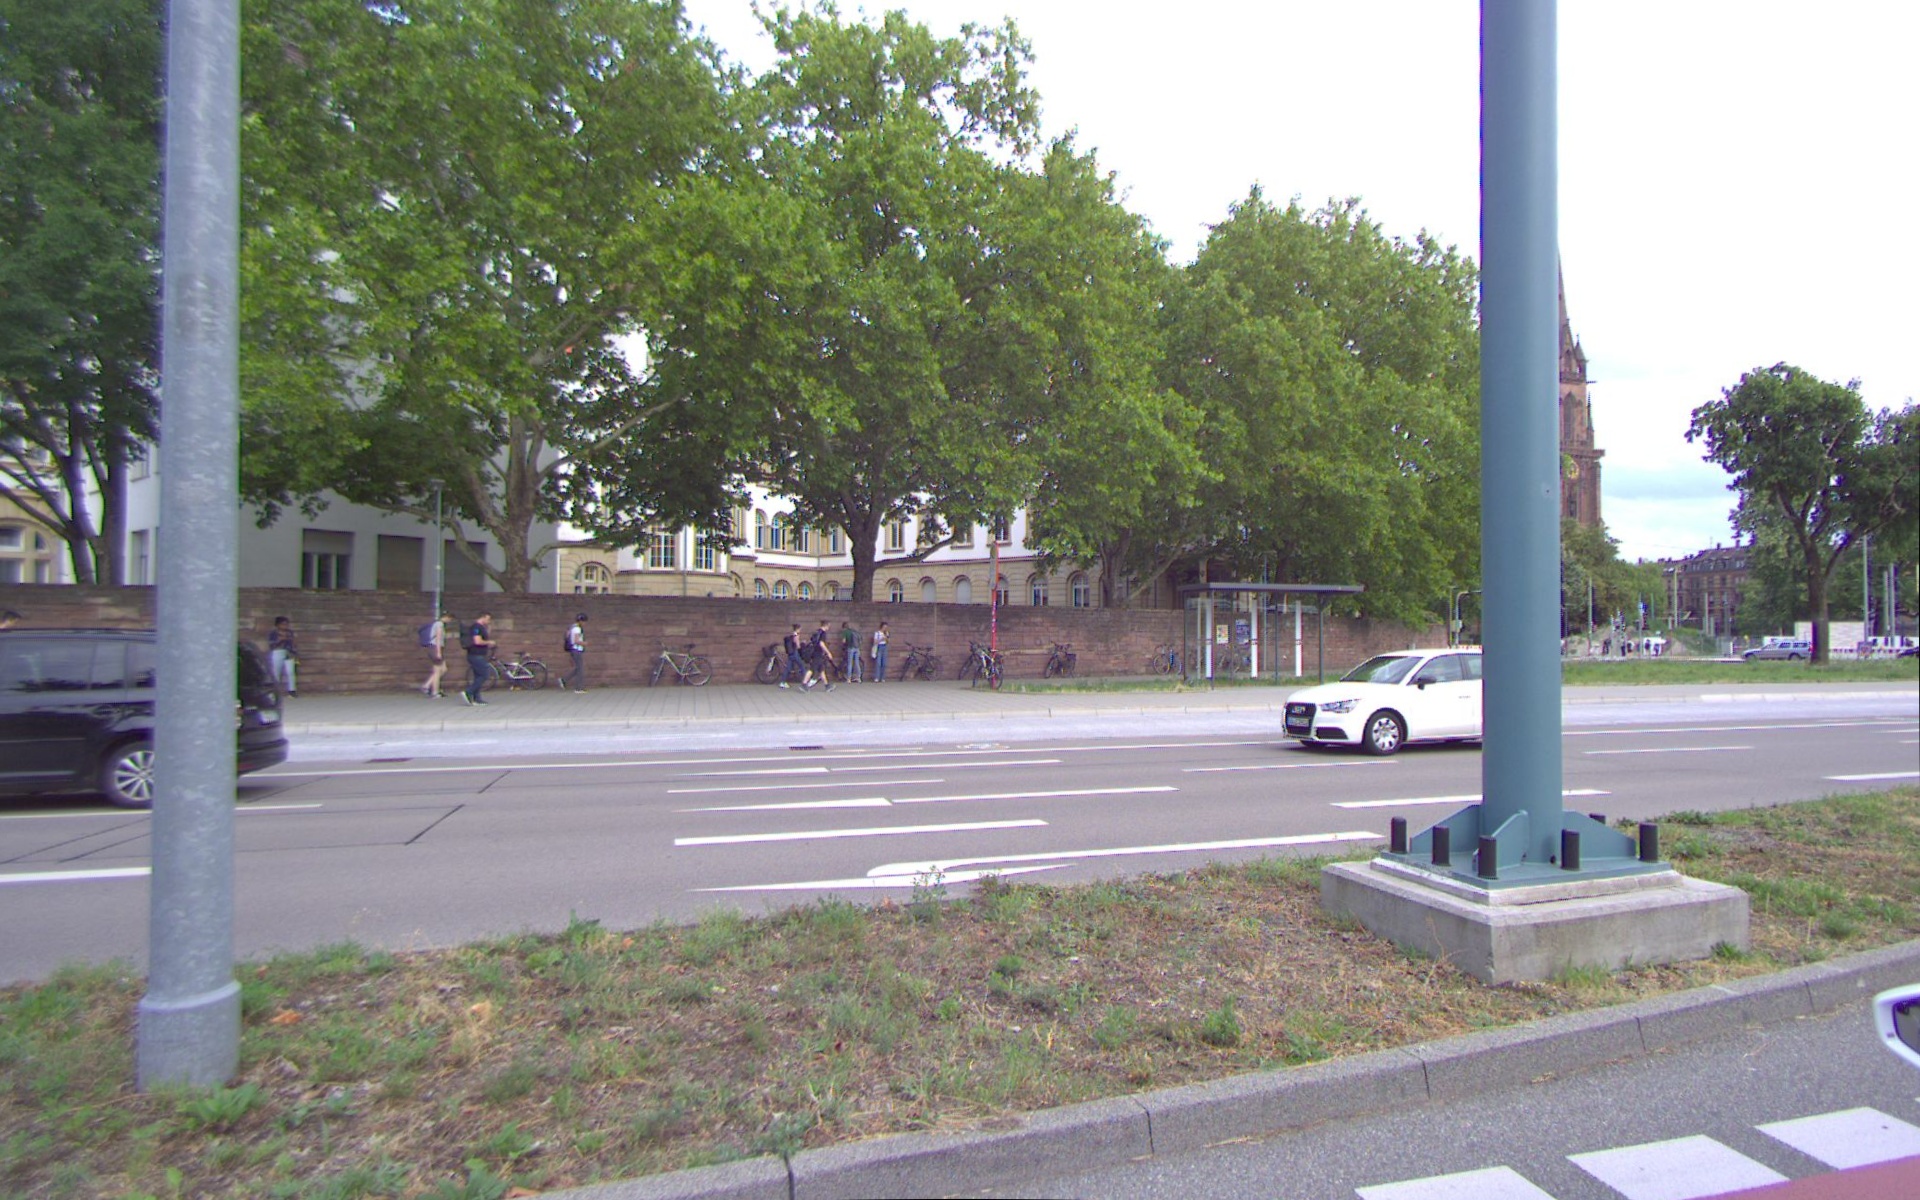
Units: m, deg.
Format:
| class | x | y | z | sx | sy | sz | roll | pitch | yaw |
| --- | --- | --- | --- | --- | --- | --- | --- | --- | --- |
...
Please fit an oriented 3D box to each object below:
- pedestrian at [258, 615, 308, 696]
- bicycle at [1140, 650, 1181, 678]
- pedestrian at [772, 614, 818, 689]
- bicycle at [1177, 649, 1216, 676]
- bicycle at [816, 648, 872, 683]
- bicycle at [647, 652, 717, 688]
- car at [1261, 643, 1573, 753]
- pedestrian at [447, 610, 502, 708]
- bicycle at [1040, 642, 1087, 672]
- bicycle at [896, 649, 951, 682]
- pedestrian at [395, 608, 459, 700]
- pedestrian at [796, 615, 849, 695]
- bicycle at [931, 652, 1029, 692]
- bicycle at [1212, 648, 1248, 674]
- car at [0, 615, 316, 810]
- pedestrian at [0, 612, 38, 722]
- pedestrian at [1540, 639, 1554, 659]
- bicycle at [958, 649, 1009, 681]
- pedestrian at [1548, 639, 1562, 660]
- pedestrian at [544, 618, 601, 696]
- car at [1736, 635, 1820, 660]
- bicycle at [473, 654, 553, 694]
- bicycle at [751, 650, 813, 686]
| class | x | y | z | sx | sy | sz | roll | pitch | yaw |
| --- | --- | --- | --- | --- | --- | --- | --- | --- | --- |
| pedestrian | -13.715 | 1.117 | 20.345 | 0.729 | 1.613 | 0.581 | 3 | -2 | -38 |
| bicycle | 7.011 | 2.211 | 35.041 | 1.608 | 0.919 | 0.477 | 2 | 0 | -40 |
| pedestrian | -4.096 | 1.274 | 24.939 | 0.779 | 1.806 | 0.751 | 3 | -3 | -44 |
| bicycle | 8.604 | 2.258 | 36.536 | 1.608 | 0.919 | 0.477 | 2 | 0 | -40 |
| bicycle | -3.139 | 1.770 | 27.320 | 1.506 | 0.890 | 0.344 | 2 | 0 | -34 |
| bicycle | -6.882 | 1.727 | 24.876 | 1.604 | 0.838 | 0.438 | 2 | 0 | -34 |
| car | 6.449 | 1.333 | 14.280 | 3.857 | 1.407 | 1.671 | 1 | -3 | -16 |
| pedestrian | -9.230 | 1.117 | 19.093 | 0.716 | 1.805 | 0.753 | 3 | -3 | -39 |
| bicycle | 3.319 | 1.798 | 32.044 | 1.607 | 0.919 | 0.477 | 2 | 0 | -39 |
| bicycle | -1.042 | 1.866 | 28.759 | 1.606 | 0.890 | 0.437 | 2 | 0 | -37 |
| pedestrian | -10.890 | 1.095 | 20.527 | 0.909 | 1.806 | 0.751 | 3 | -3 | -44 |
| pedestrian | -3.200 | 1.271 | 23.427 | 0.918 | 1.806 | 0.751 | 3 | -3 | -44 |
| bicycle | 0.467 | 1.718 | 23.953 | 2.296 | 0.931 | 0.471 | 1 | -1 | -8 |
| bicycle | 10.162 | 2.300 | 37.774 | 1.608 | 0.919 | 0.477 | 2 | 0 | -40 |
| car | -8.834 | 1.030 | 9.521 | 4.234 | 1.687 | 1.800 | 1 | -4 | -19 |
| pedestrian | -15.911 | 1.098 | 16.698 | 0.779 | 1.806 | 0.751 | 3 | -3 | -44 |
| pedestrian | 47.041 | 3.929 | 80.507 | 0.715 | 1.581 | 0.560 | 0 | -1 | -22 |
| bicycle | 0.715 | 1.938 | 30.057 | 1.606 | 0.890 | 0.437 | 2 | 0 | -37 |
| pedestrian | 47.048 | 3.915 | 79.446 | 0.715 | 1.581 | 0.560 | 0 | -1 | -22 |
| pedestrian | -8.693 | 1.272 | 22.528 | 0.918 | 1.693 | 0.751 | 3 | -3 | -44 |
| car | 55.608 | 3.202 | 68.359 | 1.622 | 1.671 | 4.148 | 1 | -2 | -21 |
| bicycle | -10.122 | 1.659 | 22.770 | 1.604 | 0.838 | 0.438 | 2 | 0 | -34 |
| bicycle | -4.646 | 1.763 | 26.279 | 1.539 | 0.890 | 0.414 | 2 | 0 | -34 |
